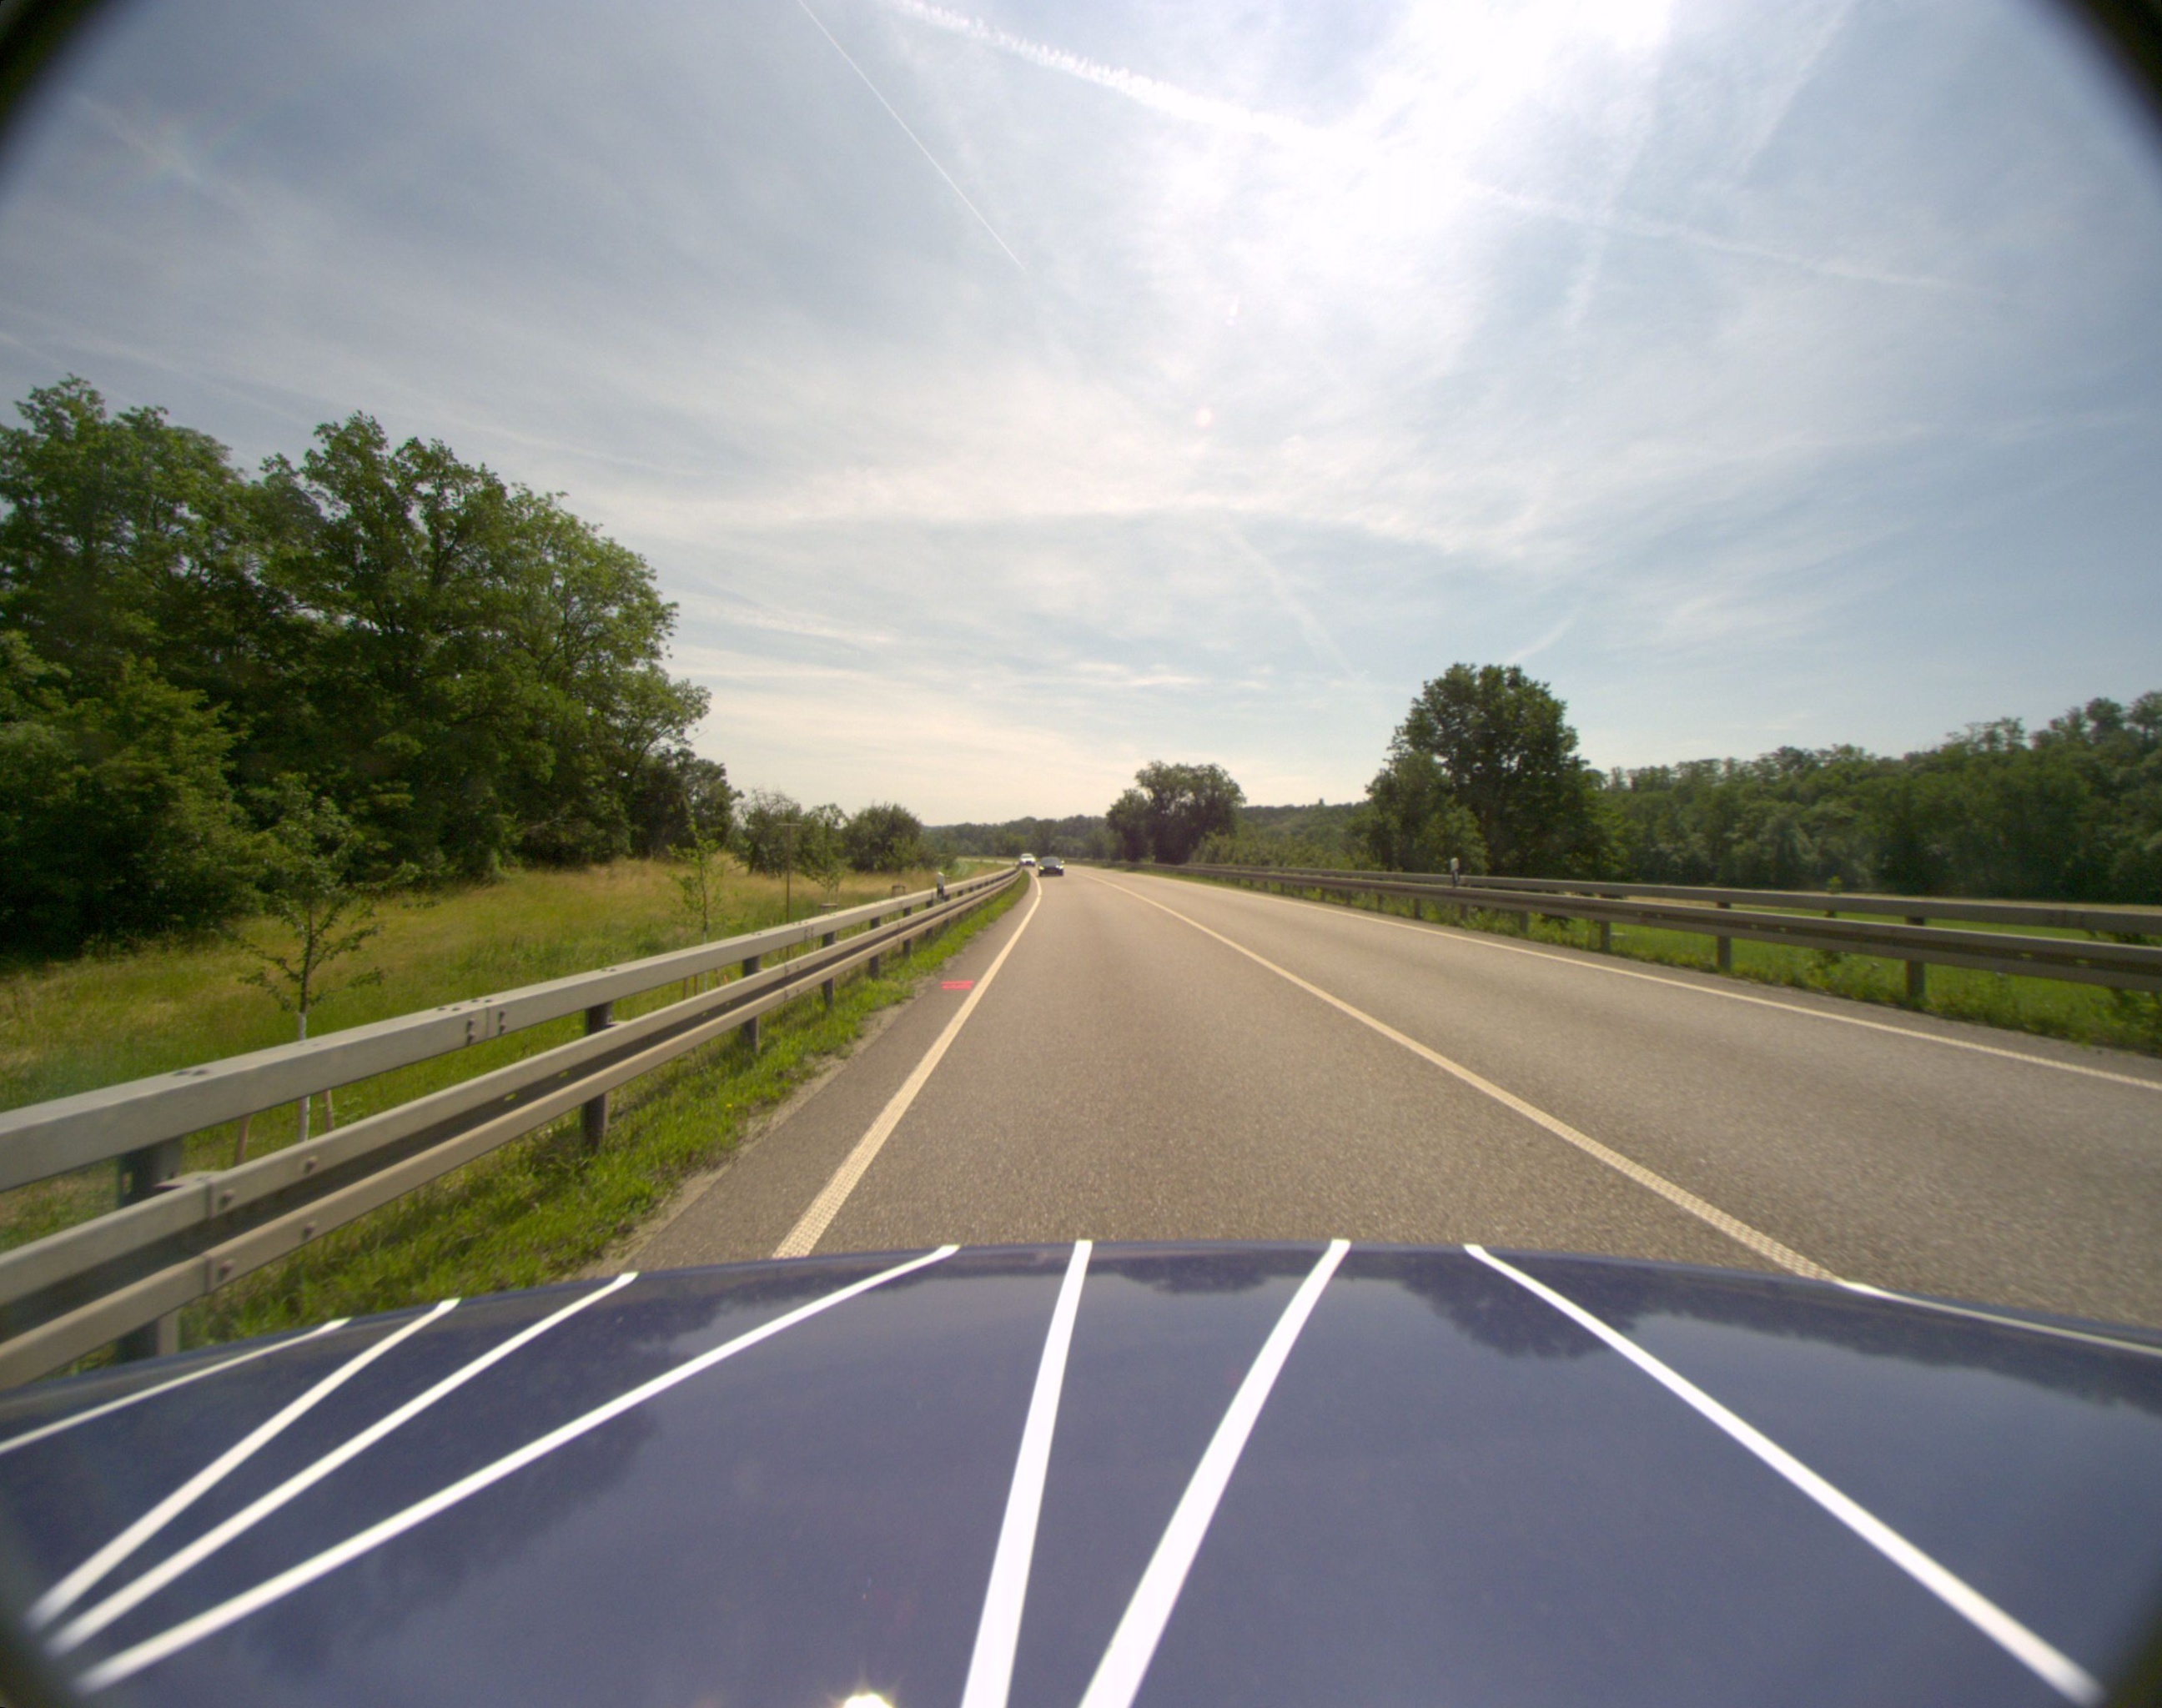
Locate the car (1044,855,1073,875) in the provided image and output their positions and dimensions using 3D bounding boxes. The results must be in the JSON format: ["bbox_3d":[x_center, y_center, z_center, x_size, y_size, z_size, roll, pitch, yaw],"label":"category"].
[{"bbox_3d":[-1.718,0.765,56.696,1.981,1.333,3.998,-2,1,-3],"label":"car"}]

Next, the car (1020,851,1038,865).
[{"bbox_3d":[-6.763,0.483,98.293,1.981,1.779,3.997,-2,1,-7],"label":"car"}]
